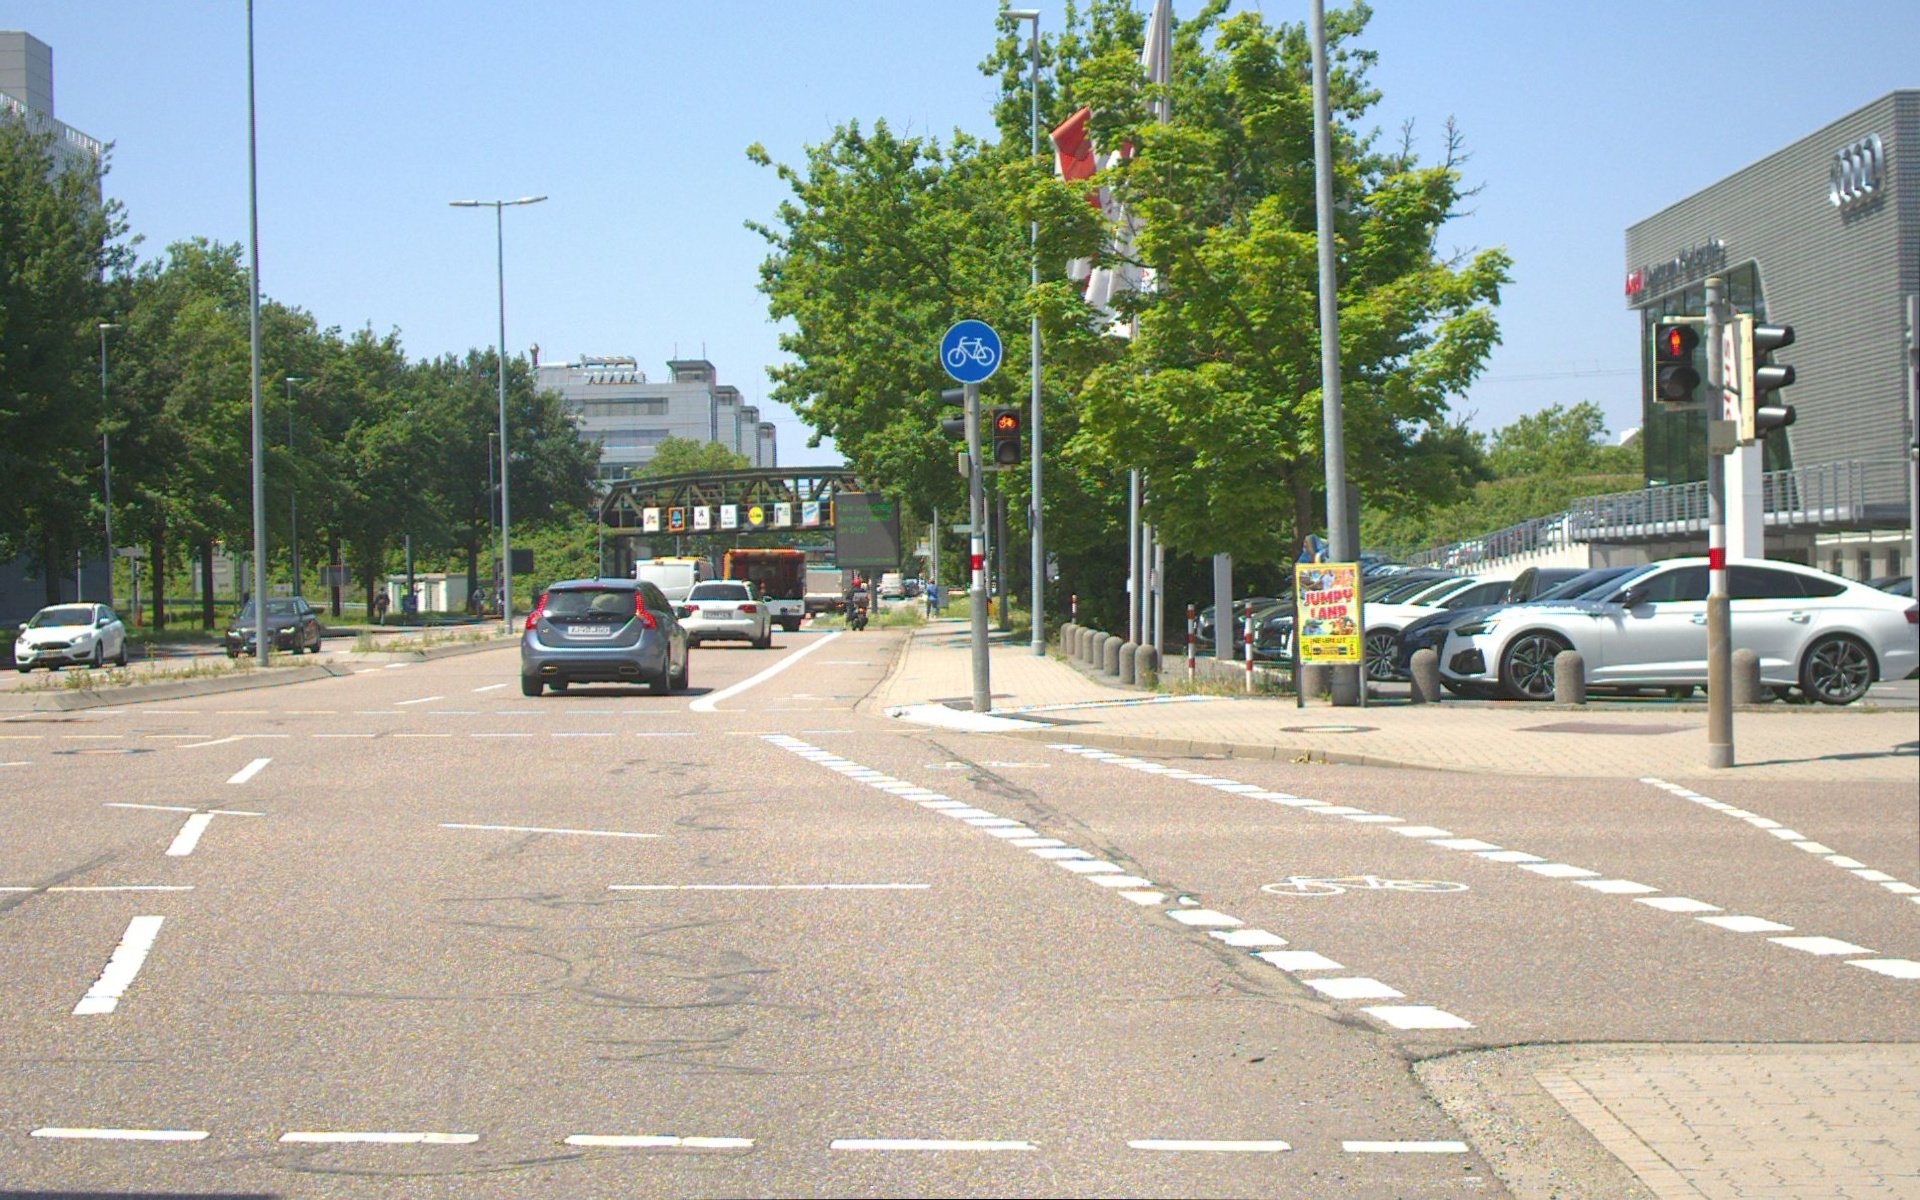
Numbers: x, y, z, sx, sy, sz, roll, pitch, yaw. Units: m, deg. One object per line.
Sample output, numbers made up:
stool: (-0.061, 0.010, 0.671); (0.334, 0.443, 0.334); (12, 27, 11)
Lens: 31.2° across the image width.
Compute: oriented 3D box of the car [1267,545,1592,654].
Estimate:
car: (6.306, -0.007, 46.493); (4.099, 1.344, 1.869); (1, 0, 0)

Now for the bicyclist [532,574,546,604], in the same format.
bicyclist: (-23.194, -0.620, 189.446); (0.633, 1.623, 1.045); (-3, 0, -1)

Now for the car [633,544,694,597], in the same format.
car: (-11.613, -1.146, 134.734); (1.993, 2.007, 4.813); (1, 1, -1)

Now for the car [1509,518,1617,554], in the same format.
car: (21.869, -2.315, 124.759); (3.523, 1.235, 1.677); (1, 0, -5)

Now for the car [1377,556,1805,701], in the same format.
car: (6.551, 0.286, 35.979); (4.096, 1.385, 1.869); (1, 0, 0)

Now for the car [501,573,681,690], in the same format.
car: (-4.641, 0.368, 43.757); (1.900, 1.371, 4.232); (-1, 0, -1)

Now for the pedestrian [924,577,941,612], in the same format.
pedestrian: (-1.071, -0.217, 134.682); (0.623, 1.370, 0.564); (-1, 0, -2)

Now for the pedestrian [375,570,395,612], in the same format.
pedestrian: (-26.108, -0.408, 156.128); (0.743, 1.878, 0.577); (-1, 0, 0)

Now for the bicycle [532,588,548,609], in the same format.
bicycle: (-23.168, -0.091, 189.525); (0.629, 1.155, 2.117); (-3, 0, -1)

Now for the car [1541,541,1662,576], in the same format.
car: (21.761, -1.416, 116.663); (3.724, 1.127, 1.684); (1, 0, -5)

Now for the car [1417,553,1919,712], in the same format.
car: (6.837, 0.302, 33.261); (4.592, 1.385, 1.869); (1, 0, 2)

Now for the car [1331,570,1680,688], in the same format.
car: (6.884, 0.356, 43.702); (4.096, 1.360, 1.874); (1, 0, 0)

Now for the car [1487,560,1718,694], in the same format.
car: (7.338, 0.278, 39.691); (1.863, 1.415, 4.662); (1, 0, 1)

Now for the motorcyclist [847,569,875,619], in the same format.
motorcyclist: (-3.042, -0.190, 105.972); (0.719, 1.524, 0.871); (1, 0, -10)

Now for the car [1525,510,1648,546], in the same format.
car: (21.929, -2.518, 120.431); (3.938, 1.207, 1.718); (0, 0, -5)

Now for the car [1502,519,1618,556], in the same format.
car: (22.581, -2.339, 129.451); (3.986, 1.307, 1.798); (1, 0, -5)

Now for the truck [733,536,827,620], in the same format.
truck: (-5.320, -0.666, 102.557); (2.458, 2.402, 7.134); (1, 1, -1)

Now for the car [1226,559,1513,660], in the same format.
car: (6.175, 0.134, 52.157); (4.101, 1.400, 1.869); (1, 0, 0)

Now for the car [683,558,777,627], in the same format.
car: (-4.789, -0.177, 71.998); (1.744, 1.391, 3.529); (-1, 1, -1)

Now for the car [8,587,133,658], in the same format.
car: (-19.683, 0.497, 76.223); (1.743, 1.481, 4.000); (-2, 0, -1)

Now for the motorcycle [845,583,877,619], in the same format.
motorcycle: (-3.045, 0.037, 105.976); (0.716, 1.101, 1.831); (1, 0, -10)

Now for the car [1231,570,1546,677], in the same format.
car: (6.072, 0.325, 49.033); (4.226, 1.385, 1.869); (1, 0, 0)

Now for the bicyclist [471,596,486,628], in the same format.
bicyclist: (-23.746, 0.583, 169.589); (0.637, 1.577, 0.884); (-1, 0, -3)

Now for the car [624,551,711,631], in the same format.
car: (-7.689, -0.249, 90.653); (1.993, 2.007, 4.000); (-1, 0, -1)

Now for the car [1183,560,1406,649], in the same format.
car: (5.832, 0.080, 60.281); (3.681, 1.448, 1.834); (1, 0, 0)

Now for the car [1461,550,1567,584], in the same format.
car: (22.869, -1.351, 141.971); (3.986, 1.307, 1.798); (-1, 0, -5)

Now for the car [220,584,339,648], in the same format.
car: (-16.499, 0.374, 83.519); (1.726, 1.441, 4.719); (-3, 0, 2)

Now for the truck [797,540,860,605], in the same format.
truck: (-5.902, -1.241, 155.010); (2.615, 2.841, 5.615); (1, 1, -1)
